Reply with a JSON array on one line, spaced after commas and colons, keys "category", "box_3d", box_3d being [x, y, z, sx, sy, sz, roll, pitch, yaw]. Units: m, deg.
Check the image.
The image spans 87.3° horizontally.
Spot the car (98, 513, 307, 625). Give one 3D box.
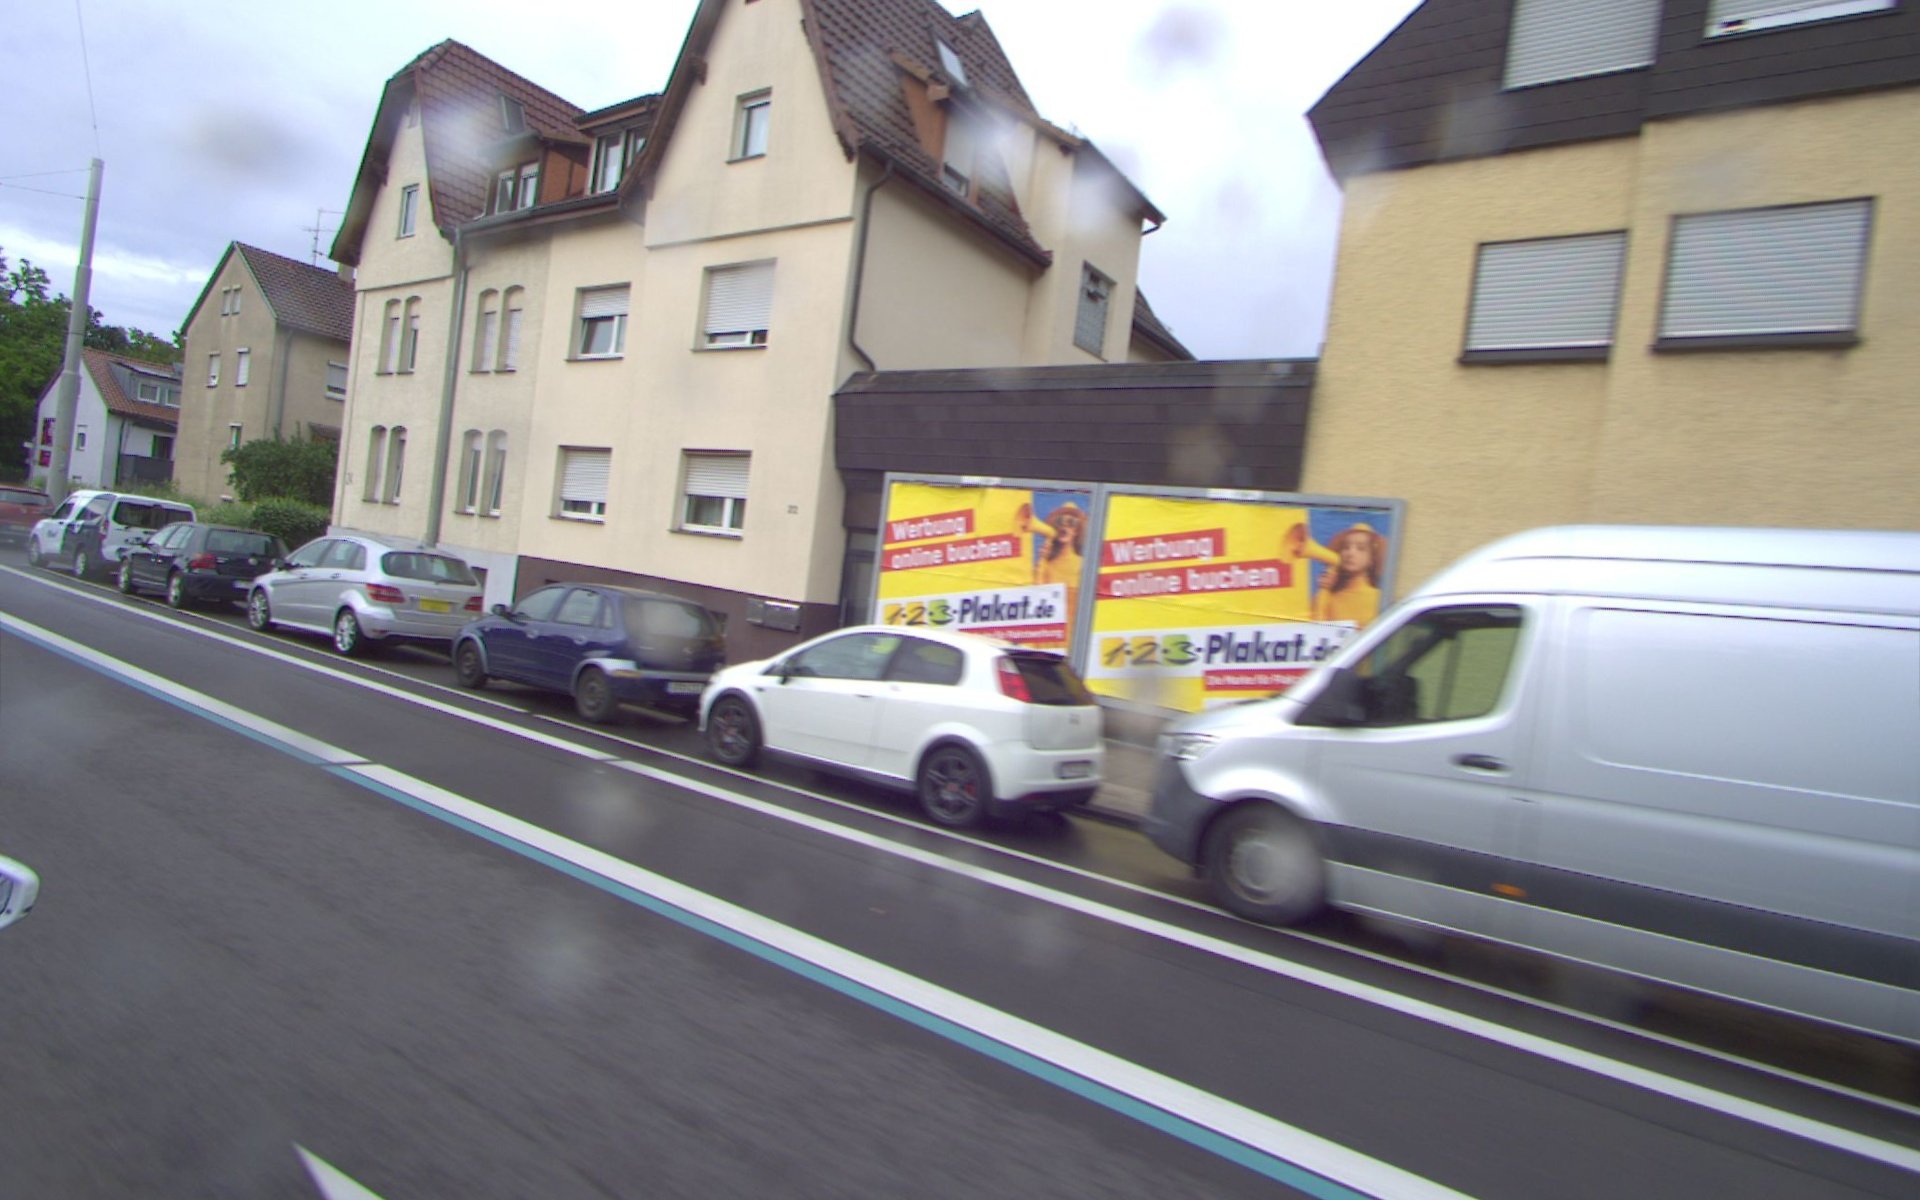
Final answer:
[{"category": "car", "box_3d": [-13.375, -0.570, 17.706, 3.891, 1.462, 1.648, 7, -2, 34]}]

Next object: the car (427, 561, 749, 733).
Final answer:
[{"category": "car", "box_3d": [-4.413, 0.513, 11.763, 3.649, 1.465, 1.628, 7, -2, 36]}]

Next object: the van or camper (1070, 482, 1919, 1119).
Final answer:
[{"category": "van or camper", "box_3d": [3.876, 0.917, 5.772, 5.946, 2.593, 1.996, 7, -1, 35]}]

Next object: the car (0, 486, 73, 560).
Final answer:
[{"category": "car", "box_3d": [-25.450, -2.179, 26.657, 3.890, 1.665, 1.850, 7, -1, 33]}]

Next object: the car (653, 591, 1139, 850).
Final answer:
[{"category": "car", "box_3d": [-0.674, 0.935, 8.948, 3.976, 1.463, 1.711, 7, -2, 35]}]

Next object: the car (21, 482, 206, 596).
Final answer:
[{"category": "car", "box_3d": [-17.587, -1.287, 20.865, 3.890, 1.829, 1.749, 7, -1, 33]}]

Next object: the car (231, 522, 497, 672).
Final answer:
[{"category": "car", "box_3d": [-8.763, -0.075, 14.694, 4.039, 1.633, 1.648, 7, -2, 34]}]
